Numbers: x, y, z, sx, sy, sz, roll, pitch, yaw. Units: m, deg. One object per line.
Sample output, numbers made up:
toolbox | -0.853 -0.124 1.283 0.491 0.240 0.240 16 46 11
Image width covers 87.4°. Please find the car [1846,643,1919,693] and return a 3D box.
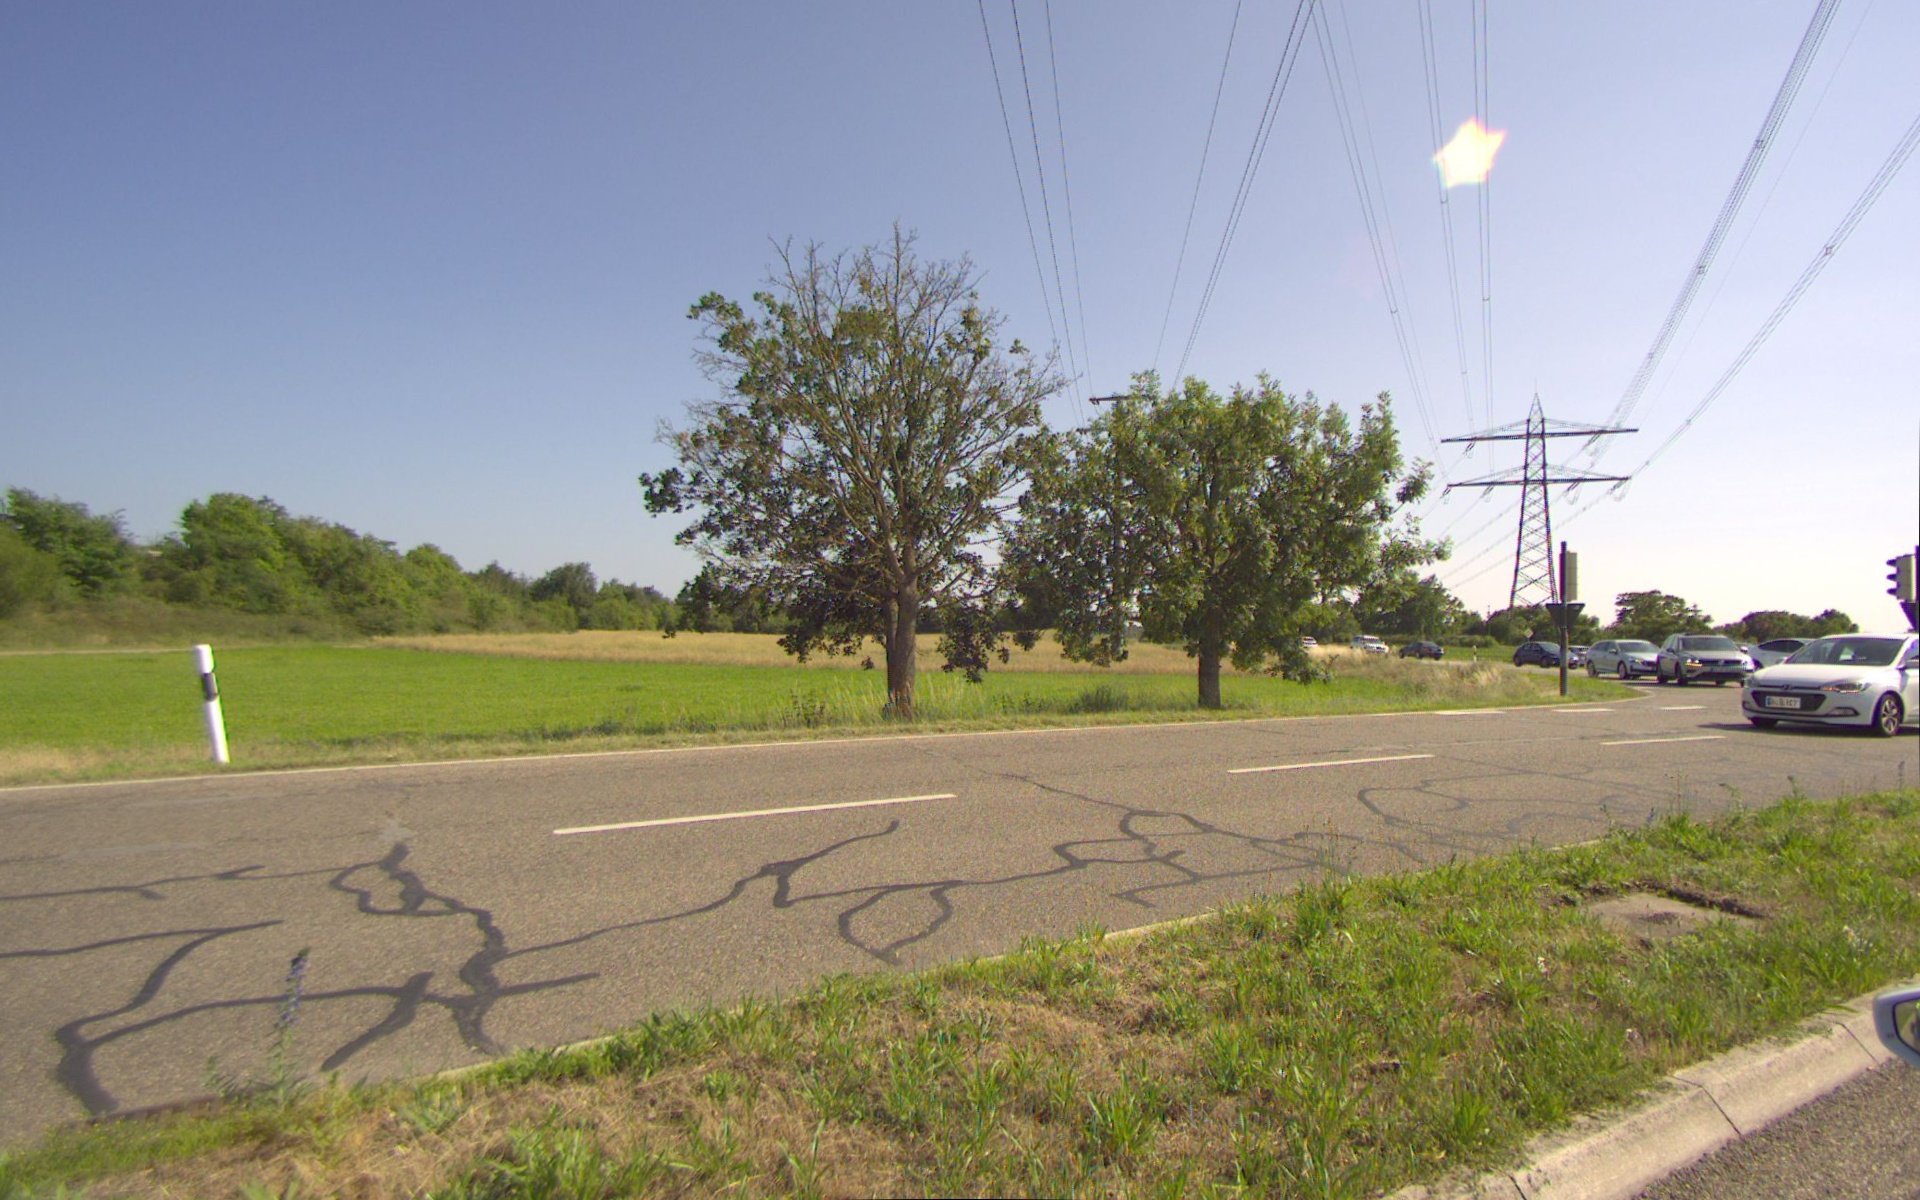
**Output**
car | 33.595 2.383 35.049 1.785 1.673 4.000 1 -1 -2

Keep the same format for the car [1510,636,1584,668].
car | 33.068 2.911 56.734 1.785 1.673 4.000 1 -1 -2

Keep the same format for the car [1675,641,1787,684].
car | 33.612 2.695 43.934 1.785 1.673 4.000 1 -1 -2

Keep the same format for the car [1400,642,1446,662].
car | 37.541 4.192 81.601 1.773 1.539 3.879 1 -2 -4

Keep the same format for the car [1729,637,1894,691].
car | 30.344 2.236 36.031 1.785 1.673 4.761 1 -1 -2

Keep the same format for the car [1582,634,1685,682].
car | 25.339 2.134 37.957 1.783 1.673 4.003 1 -2 10

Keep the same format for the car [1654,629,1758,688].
car | 23.123 1.766 31.297 1.786 1.673 3.997 0 -2 25

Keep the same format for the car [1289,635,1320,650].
car | 36.751 4.512 107.368 1.773 1.539 3.879 1 -2 -4

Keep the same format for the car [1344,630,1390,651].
car | 32.267 3.208 79.747 1.785 1.505 3.998 1 0 -3

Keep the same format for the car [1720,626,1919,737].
car | 13.740 1.186 15.222 3.852 1.484 1.716 2 -1 -20
